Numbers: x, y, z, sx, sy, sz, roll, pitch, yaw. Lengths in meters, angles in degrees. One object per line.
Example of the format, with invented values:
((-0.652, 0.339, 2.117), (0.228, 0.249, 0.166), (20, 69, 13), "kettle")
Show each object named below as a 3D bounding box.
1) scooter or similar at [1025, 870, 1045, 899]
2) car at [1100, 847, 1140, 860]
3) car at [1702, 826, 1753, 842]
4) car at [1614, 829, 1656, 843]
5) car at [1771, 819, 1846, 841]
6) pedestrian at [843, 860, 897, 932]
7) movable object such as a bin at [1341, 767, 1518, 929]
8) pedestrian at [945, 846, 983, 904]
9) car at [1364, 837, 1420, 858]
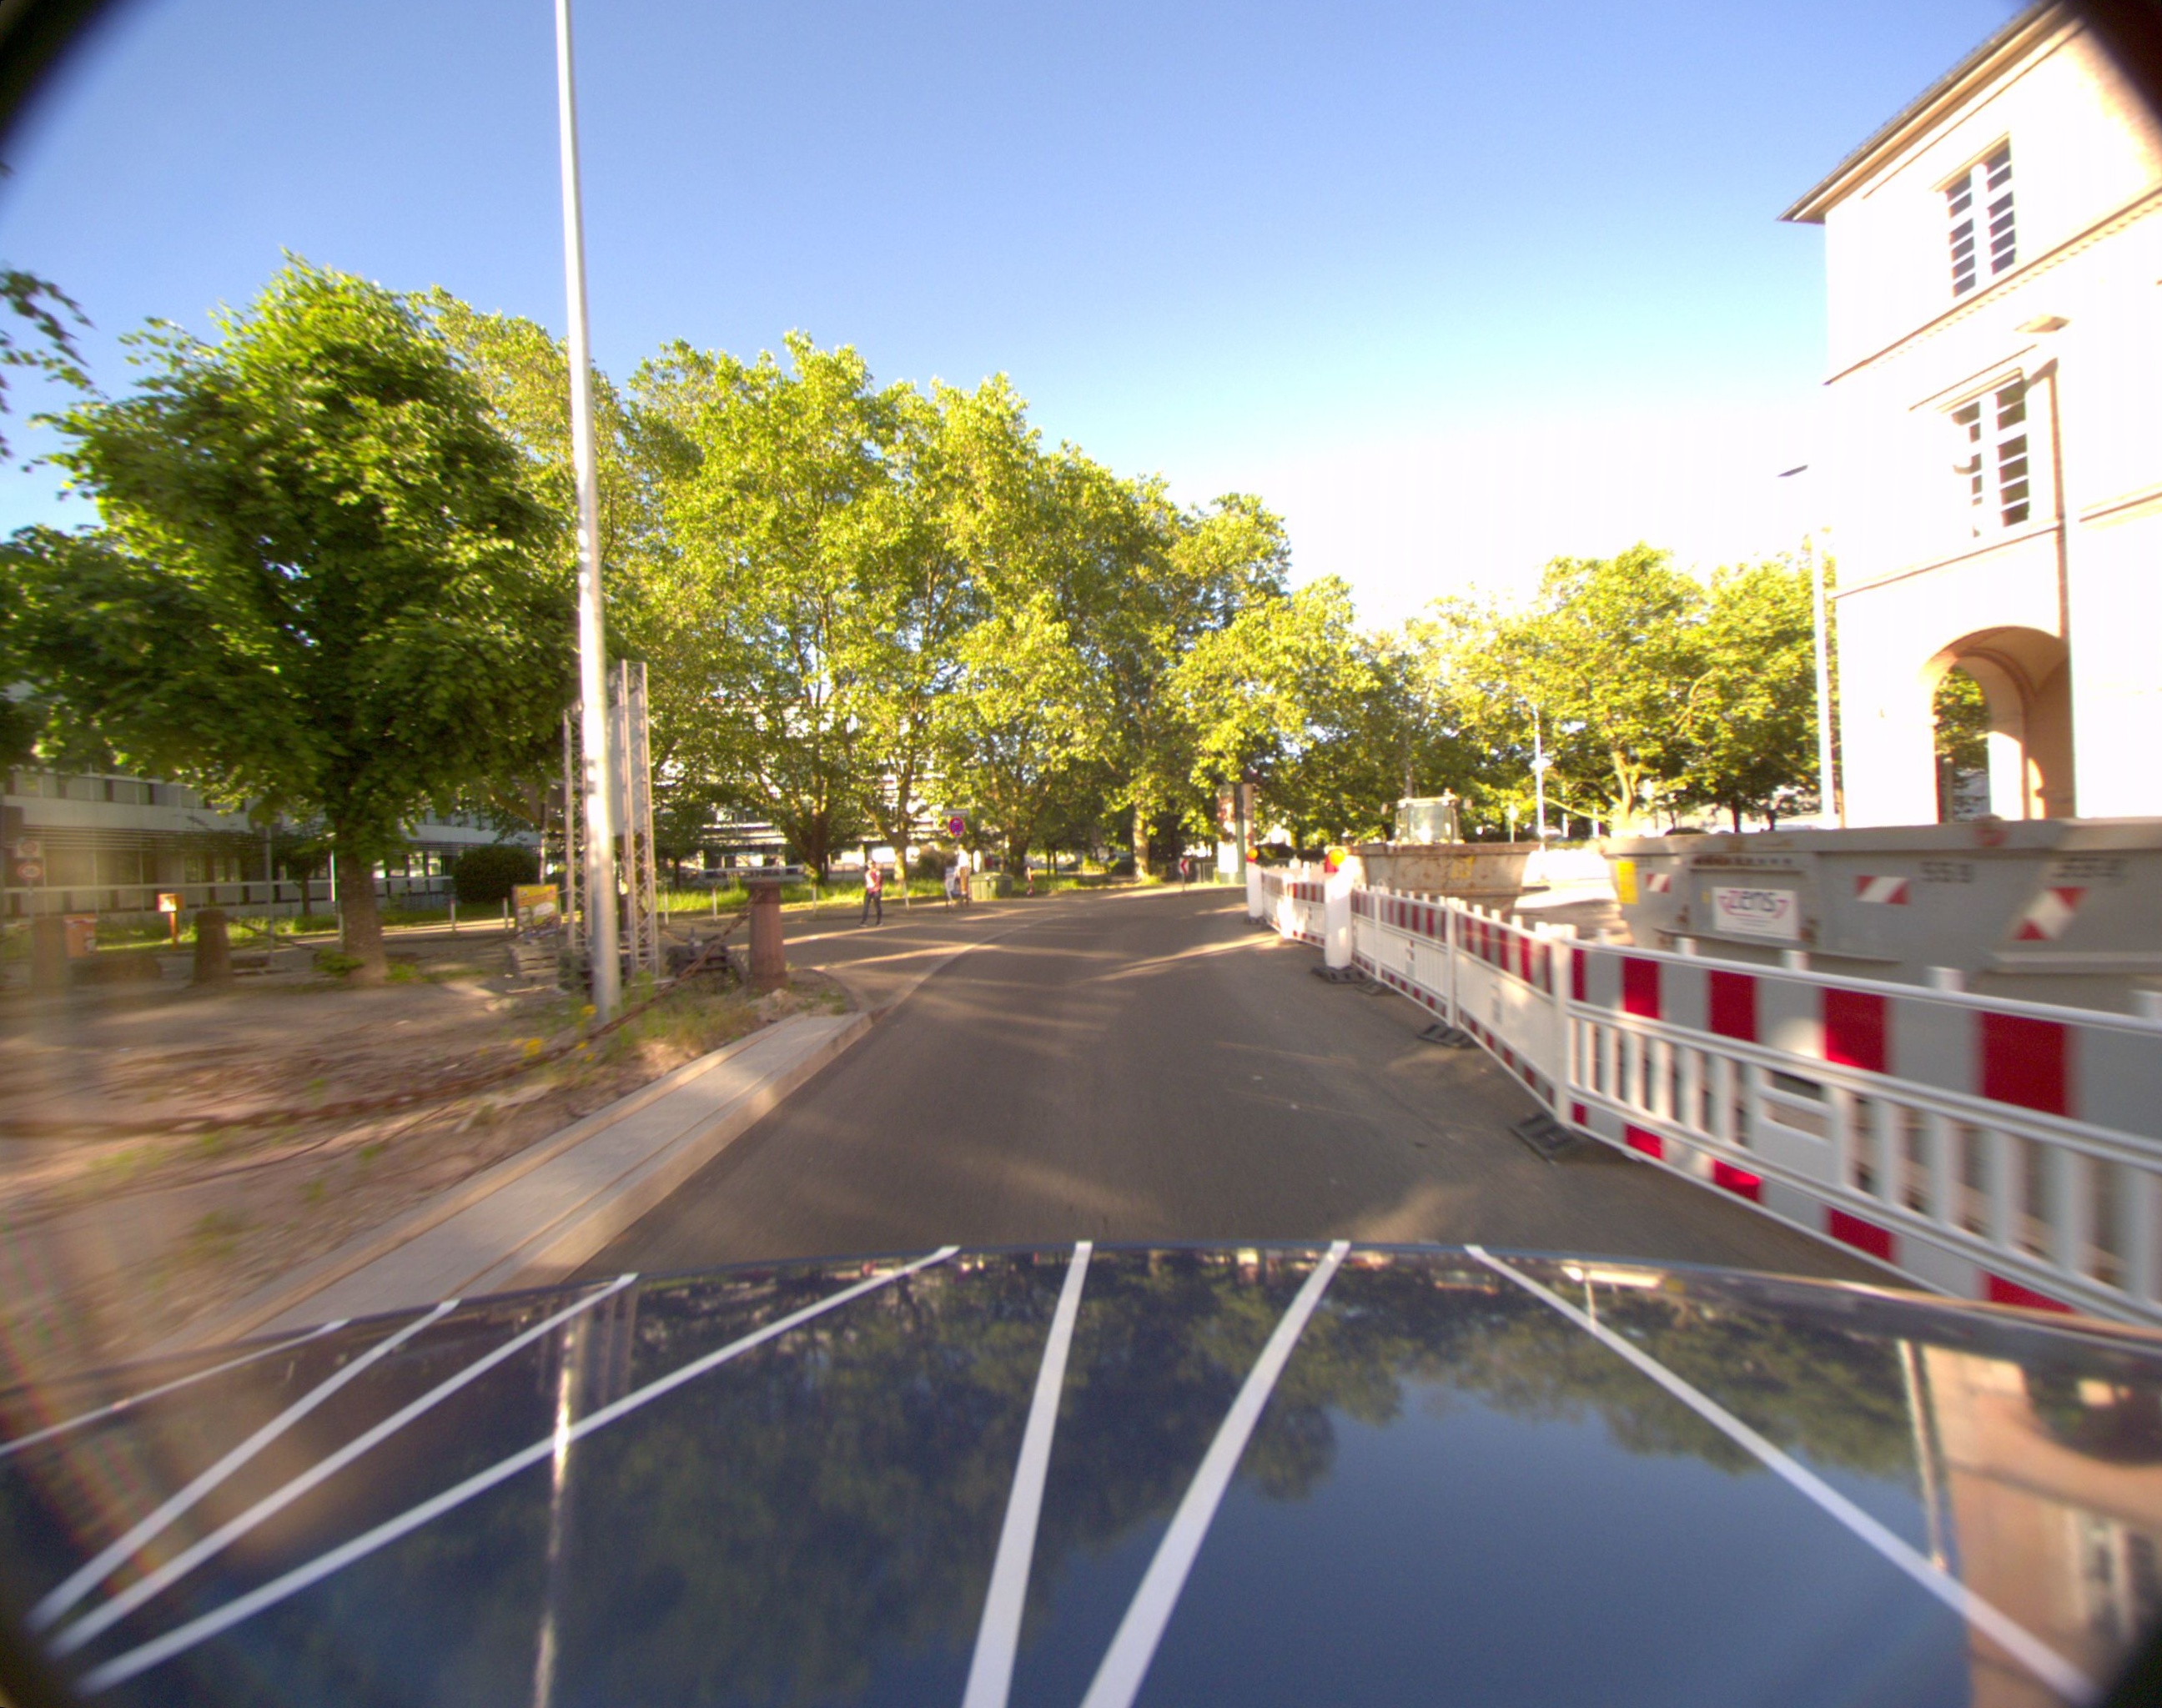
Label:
((-1.600, 1.043, 26.438), (0.420, 0.909, 1.149), (-4, 2, -16), "scooter or similar")
((4.817, -0.045, 94.214), (4.657, 1.466, 2.013), (-2, -1, -8), "car")
((67.054, -2.046, 78.906), (1.630, 1.476, 3.847), (-2, 0, -10), "car")
((64.354, -2.066, 88.383), (1.630, 1.476, 3.847), (-2, 0, -10), "car")
((68.620, -2.220, 71.784), (2.109, 1.818, 4.715), (-2, 0, -10), "car")
((-4.972, 0.967, 17.927), (0.940, 1.614, 0.709), (-3, 1, -40), "pedestrian")
((8.147, -0.179, 17.334), (2.560, 3.014, 5.942), (-1, 1, 35), "movable object such as a bin")
((-3.831, 0.689, 24.883), (1.134, 1.801, 0.747), (-2, -1, -11), "pedestrian")
((25.872, -0.537, 63.247), (4.000, 1.616, 1.552), (-2, -1, -8), "car")
